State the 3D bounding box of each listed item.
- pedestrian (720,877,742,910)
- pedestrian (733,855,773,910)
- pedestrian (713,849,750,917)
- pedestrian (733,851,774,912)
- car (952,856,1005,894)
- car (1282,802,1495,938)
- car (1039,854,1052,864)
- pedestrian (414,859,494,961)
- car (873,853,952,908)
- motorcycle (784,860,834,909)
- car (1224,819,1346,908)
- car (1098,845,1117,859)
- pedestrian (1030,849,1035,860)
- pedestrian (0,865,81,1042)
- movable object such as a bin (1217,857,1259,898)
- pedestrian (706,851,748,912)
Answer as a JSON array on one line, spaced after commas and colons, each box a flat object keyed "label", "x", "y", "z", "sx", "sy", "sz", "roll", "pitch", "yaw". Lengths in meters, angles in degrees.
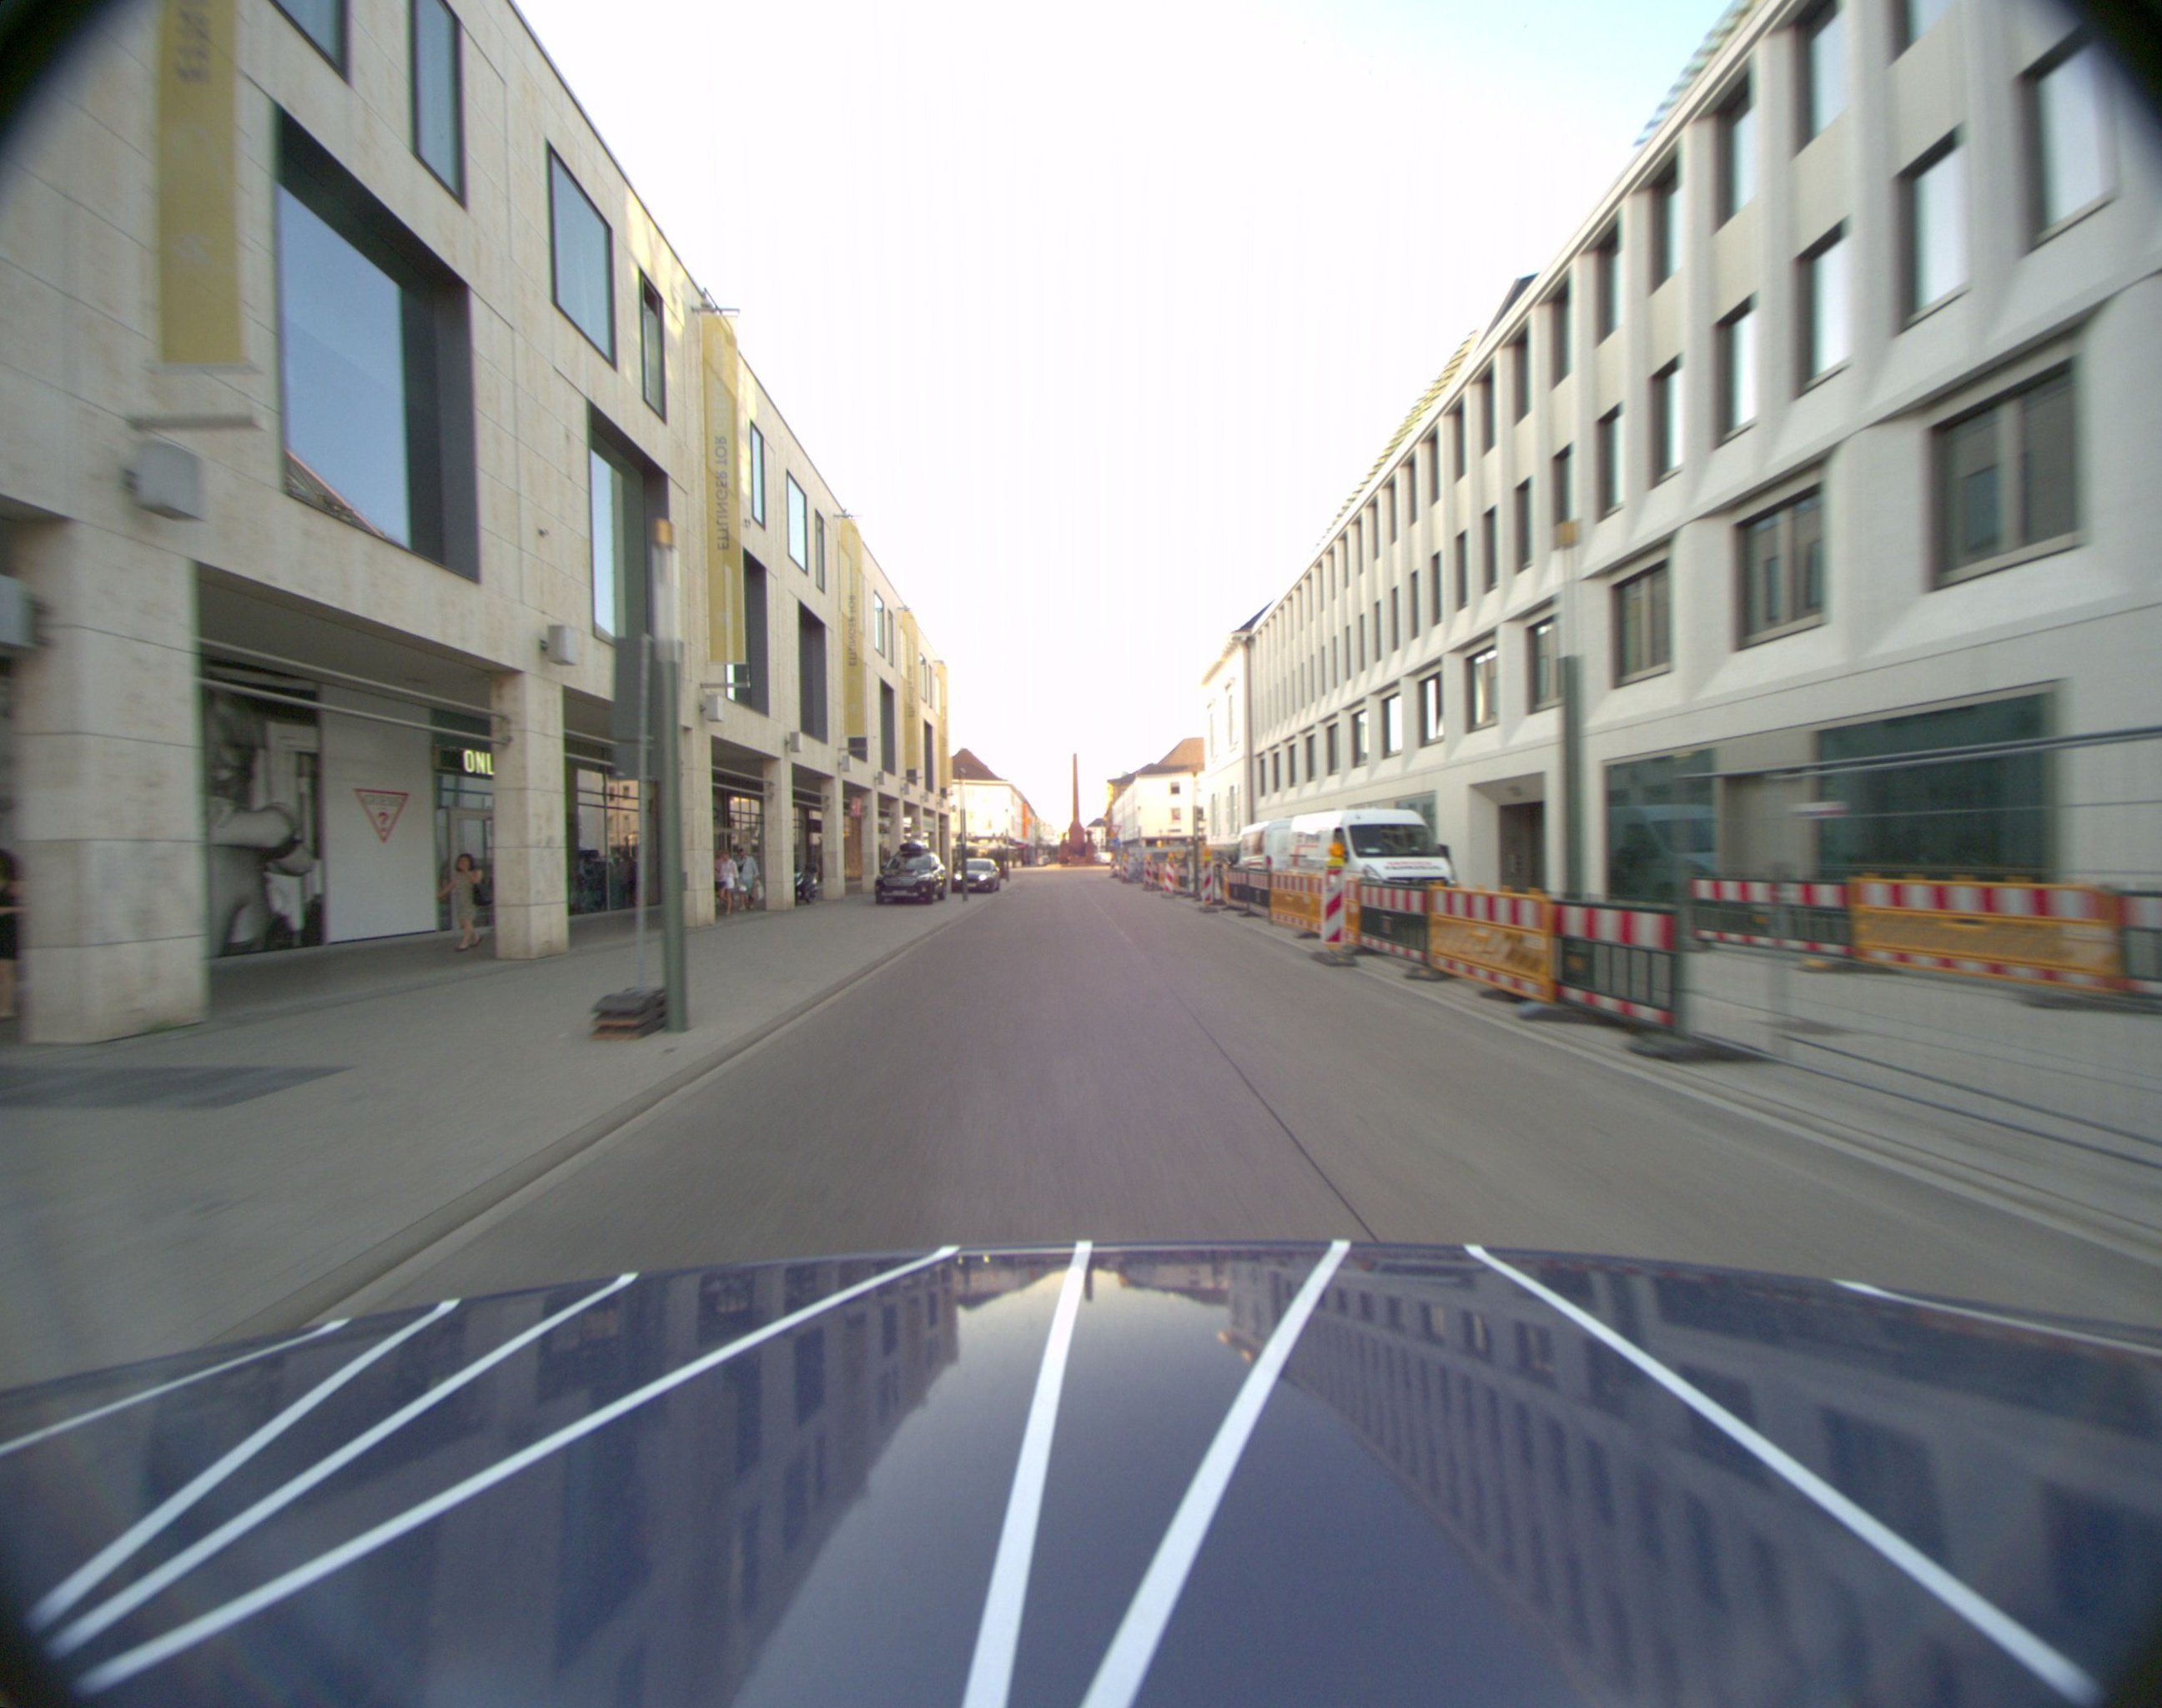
[{"label": "pedestrian", "x": -10.564, "y": 1.186, "z": 22.916, "sx": 0.421, "sy": 0.980, "sz": 0.526, "roll": -1, "pitch": -1, "yaw": -2}, {"label": "pedestrian", "x": -9.574, "y": 0.840, "z": 22.201, "sx": 0.767, "sy": 1.558, "sz": 0.877, "roll": -1, "pitch": -1, "yaw": -2}, {"label": "pedestrian", "x": -8.905, "y": 0.731, "z": 19.381, "sx": 0.592, "sy": 1.688, "sz": 0.696, "roll": -1, "pitch": 0, "yaw": -3}, {"label": "pedestrian", "x": -9.141, "y": 0.767, "z": 21.239, "sx": 0.767, "sy": 1.671, "sz": 0.877, "roll": -1, "pitch": -1, "yaw": -2}, {"label": "car", "x": -4.522, "y": 0.898, "z": 34.008, "sx": 1.800, "sy": 1.481, "sz": 4.192, "roll": 2, "pitch": 0, "yaw": -1}, {"label": "car", "x": 6.467, "y": 0.286, "z": 17.005, "sx": 2.179, "sy": 2.456, "sz": 5.998, "roll": -1, "pitch": 0, "yaw": -1}, {"label": "car", "x": -5.370, "y": 0.740, "z": 115.318, "sx": 1.781, "sy": 1.416, "sz": 3.960, "roll": -1, "pitch": 0, "yaw": -1}, {"label": "pedestrian", "x": -9.934, "y": 0.866, "z": 12.062, "sx": 0.635, "sy": 1.558, "sz": 0.775, "roll": -1, "pitch": -1, "yaw": -2}, {"label": "car", "x": -5.553, "y": 0.826, "z": 25.528, "sx": 1.773, "sy": 1.628, "sz": 4.056, "roll": 2, "pitch": 0, "yaw": -1}, {"label": "motorcycle", "x": -8.403, "y": 0.919, "z": 23.555, "sx": 0.694, "sy": 1.408, "sz": 2.136, "roll": -1, "pitch": 0, "yaw": 1}, {"label": "car", "x": 6.340, "y": 0.259, "z": 24.456, "sx": 2.179, "sy": 2.456, "sz": 5.998, "roll": -1, "pitch": 0, "yaw": -1}, {"label": "car", "x": 3.756, "y": -0.257, "z": 107.826, "sx": 2.022, "sy": 1.815, "sz": 4.457, "roll": -1, "pitch": 0, "yaw": -7}, {"label": "pedestrian", "x": -6.979, "y": 0.069, "z": 108.620, "sx": 0.604, "sy": 1.691, "sz": 0.713, "roll": -1, "pitch": 1, "yaw": -6}, {"label": "pedestrian", "x": -9.807, "y": 0.878, "z": 6.779, "sx": 0.726, "sy": 1.533, "sz": 0.728, "roll": -2, "pitch": 1, "yaw": -1}, {"label": "movable object such as a bin", "x": 5.887, "y": 0.862, "z": 28.568, "sx": 1.047, "sy": 1.458, "sz": 1.392, "roll": -2, "pitch": 1, "yaw": -13}, {"label": "pedestrian", "x": -10.051, "y": 0.784, "z": 21.584, "sx": 0.767, "sy": 1.671, "sz": 0.877, "roll": -1, "pitch": -1, "yaw": -2}]
